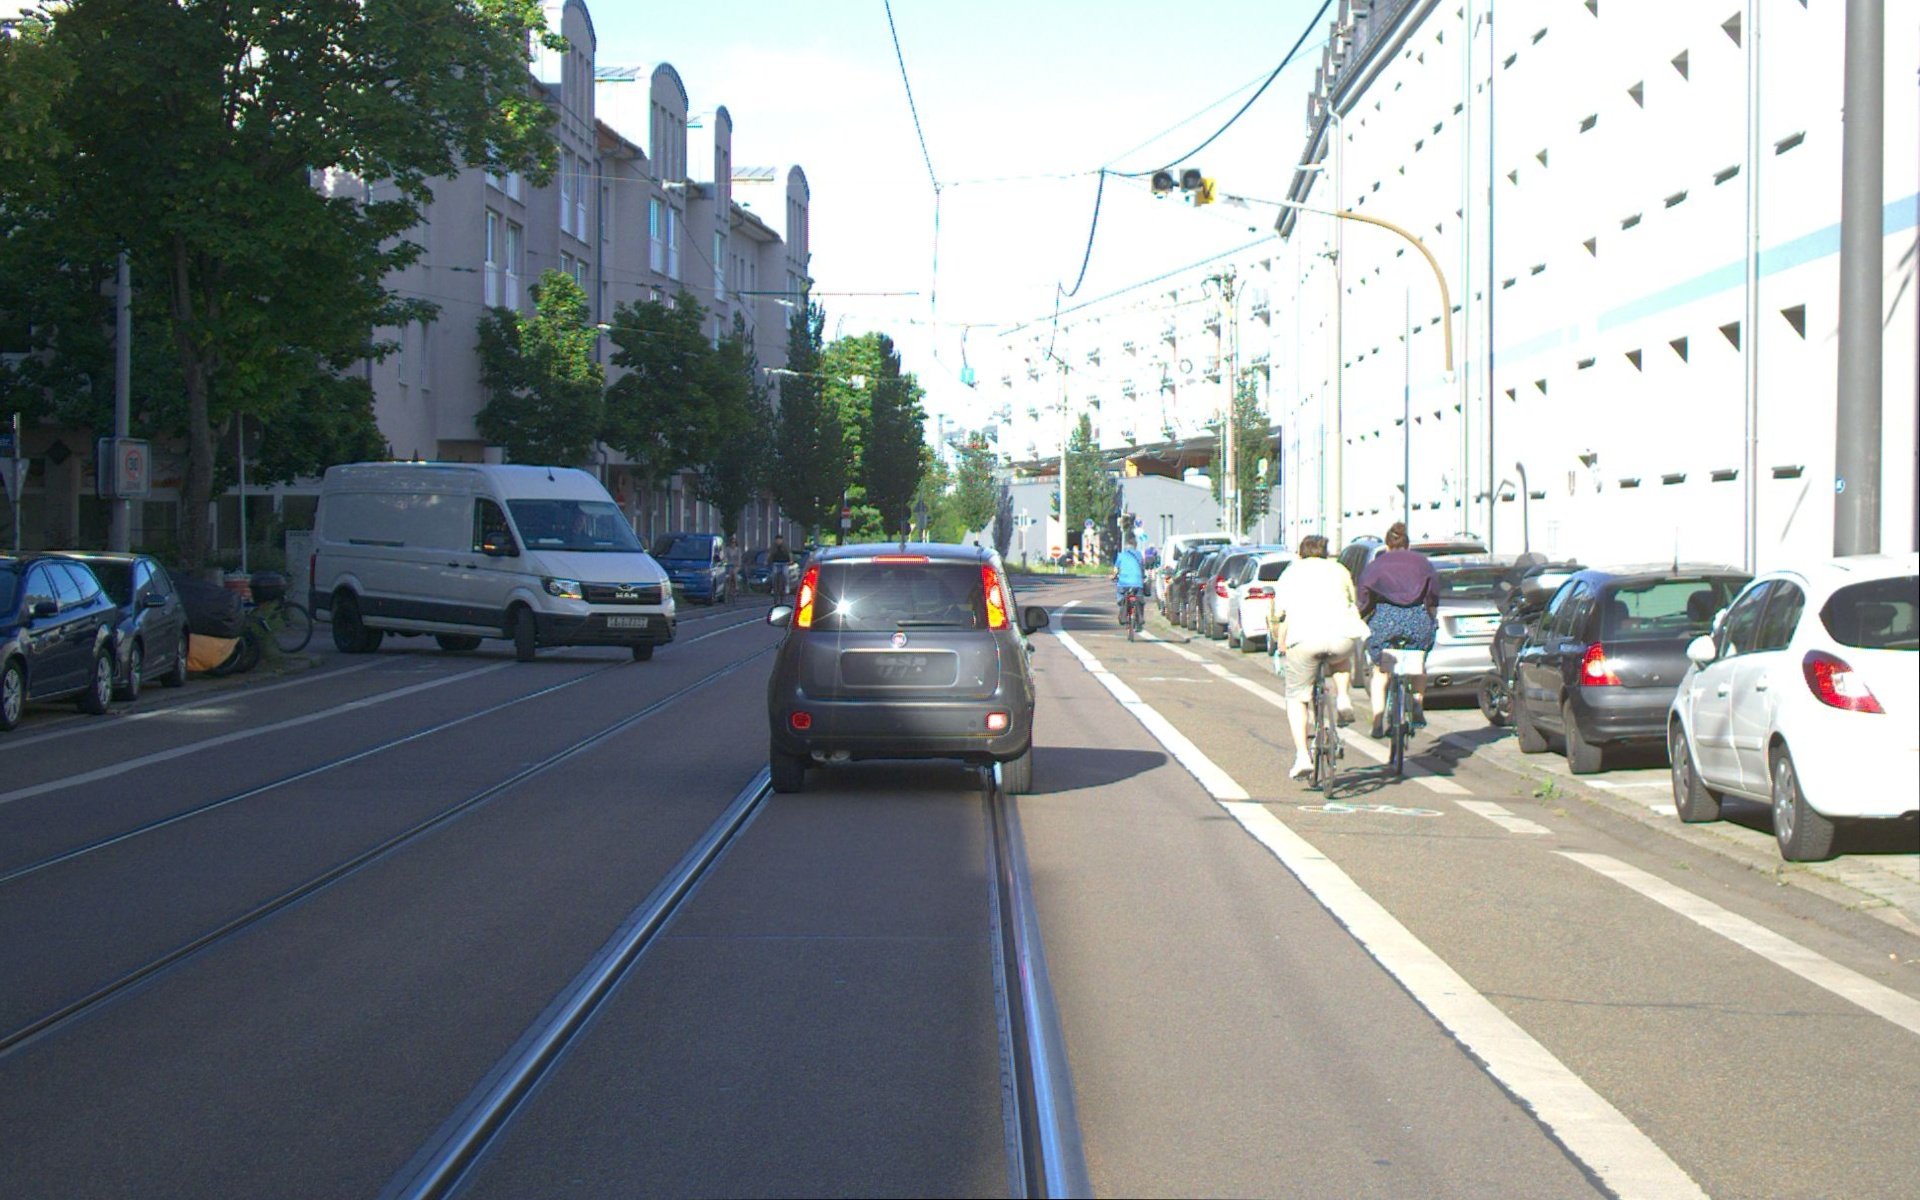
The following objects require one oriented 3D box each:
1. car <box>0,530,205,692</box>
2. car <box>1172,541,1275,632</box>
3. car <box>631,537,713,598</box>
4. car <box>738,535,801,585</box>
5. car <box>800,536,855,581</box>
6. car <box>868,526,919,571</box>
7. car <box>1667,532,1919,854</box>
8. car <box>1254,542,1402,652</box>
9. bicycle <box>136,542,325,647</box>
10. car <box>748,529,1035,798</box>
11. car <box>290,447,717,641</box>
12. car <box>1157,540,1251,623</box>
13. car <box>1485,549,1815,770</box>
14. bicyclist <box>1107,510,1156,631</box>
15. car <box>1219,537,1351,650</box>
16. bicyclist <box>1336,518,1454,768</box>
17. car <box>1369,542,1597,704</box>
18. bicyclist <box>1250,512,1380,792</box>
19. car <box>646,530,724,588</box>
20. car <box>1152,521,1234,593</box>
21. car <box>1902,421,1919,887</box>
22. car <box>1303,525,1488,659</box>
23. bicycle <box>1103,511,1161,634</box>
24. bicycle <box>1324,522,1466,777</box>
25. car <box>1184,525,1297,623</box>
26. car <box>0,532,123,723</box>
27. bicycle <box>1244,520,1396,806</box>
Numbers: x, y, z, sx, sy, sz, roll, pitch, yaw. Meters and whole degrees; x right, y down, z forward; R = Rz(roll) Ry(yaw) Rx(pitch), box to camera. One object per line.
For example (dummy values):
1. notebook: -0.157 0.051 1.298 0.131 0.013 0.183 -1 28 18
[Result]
1. car: -9.120 0.075 35.635 1.835 1.551 3.377 2 1 -1
2. car: 4.874 -0.279 63.993 1.583 1.593 3.377 2 1 -1
3. car: -7.422 -0.857 88.963 1.707 1.491 3.722 2 1 1
4. car: -6.012 -1.284 108.816 1.707 1.491 3.722 2 1 1
5. car: -4.655 -1.477 121.089 1.707 1.491 3.722 2 1 1
6. car: -2.656 -2.066 137.574 1.856 1.753 3.572 0 1 2
7. car: 4.813 0.423 17.675 1.655 1.495 3.130 2 1 0
8. car: 5.006 -0.062 47.110 1.583 1.400 3.377 2 1 -1
9. bicycle: -9.416 -0.072 44.446 2.275 1.284 0.758 2 1 -4
10. car: -0.387 0.330 22.346 1.650 1.536 4.235 2 1 0
11. car: -6.229 -0.800 45.996 2.169 2.395 6.922 1 1 -41
12. car: 4.936 -0.386 69.749 1.583 1.593 3.377 2 1 -1
13. car: 4.810 0.365 24.360 1.583 1.400 3.377 2 1 -1
14. bicyclist: 2.888 -0.502 57.964 0.715 2.007 0.832 2 1 -1
15. car: 4.846 -0.122 51.623 1.583 1.593 3.377 2 1 -1
16. bicyclist: 3.126 0.298 24.762 0.699 1.753 0.757 2 1 -1
17. car: 4.978 0.182 33.064 1.583 1.400 3.377 -3 1 -1
18. bicyclist: 2.281 0.324 22.134 0.699 1.753 0.757 2 1 -1
19. car: -7.413 -1.119 93.055 1.707 1.491 3.722 2 1 1
20. car: 5.366 -0.998 79.485 1.583 1.593 3.377 2 1 -1
21. car: 4.848 0.283 12.190 1.655 1.937 4.665 2 1 0
22. car: 4.869 -0.118 38.832 1.583 1.400 3.377 2 1 -1
23. bicycle: 2.890 -0.473 57.953 0.741 2.007 2.812 2 1 -1
24. bicycle: 3.114 0.321 24.802 0.675 1.741 2.158 2 1 -1
25. car: 4.829 -0.467 59.523 1.583 1.593 3.377 2 1 -1
26. car: -8.820 0.181 30.469 1.835 1.551 4.000 2 1 -1
27. bicycle: 2.302 0.365 22.211 0.675 1.741 2.158 2 1 -1
